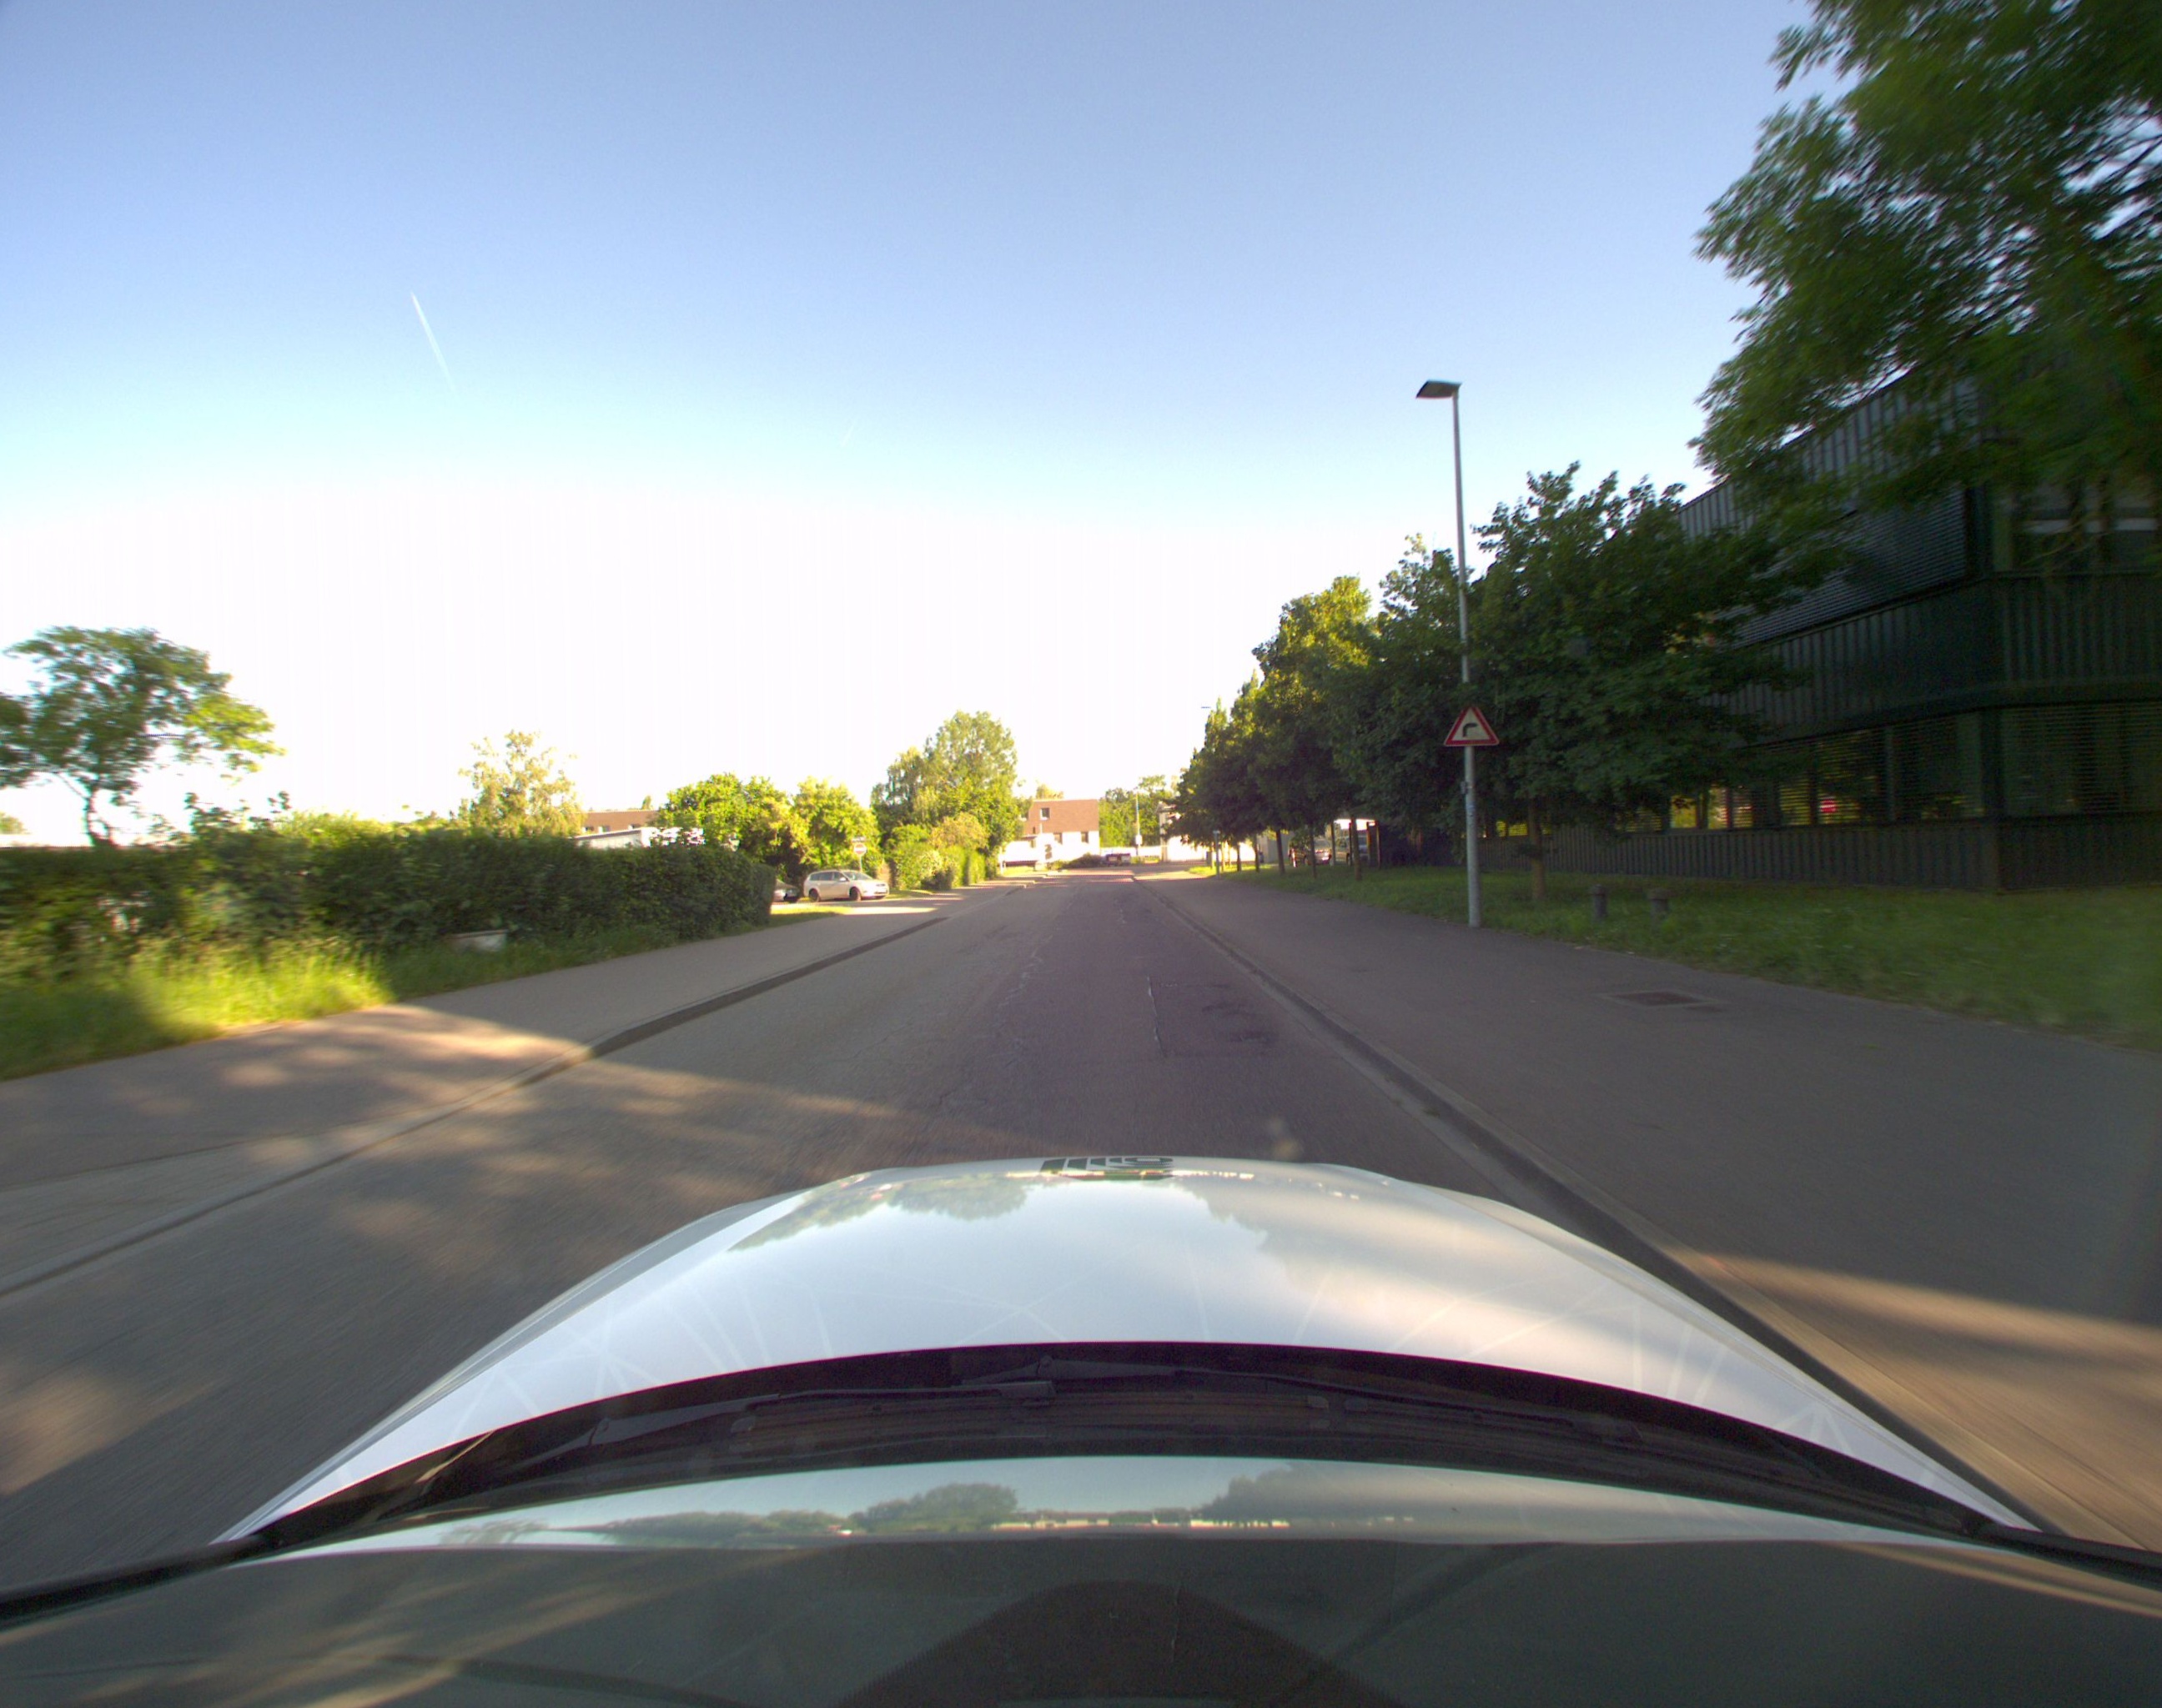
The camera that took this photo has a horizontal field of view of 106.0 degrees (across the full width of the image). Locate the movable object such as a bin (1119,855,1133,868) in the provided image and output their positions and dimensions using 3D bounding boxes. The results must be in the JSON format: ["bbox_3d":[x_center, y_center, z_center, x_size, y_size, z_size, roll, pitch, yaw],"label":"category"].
[{"bbox_3d":[4.935,0.823,89.784,1.363,1.418,1.063,-1,-1,-6],"label":"movable object such as a bin"}]

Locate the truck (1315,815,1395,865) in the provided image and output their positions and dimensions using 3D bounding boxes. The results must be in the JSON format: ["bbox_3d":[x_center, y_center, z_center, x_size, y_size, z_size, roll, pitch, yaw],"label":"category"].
[{"bbox_3d":[16.731,-0.791,50.172,2.353,2.838,6.742,-1,0,-3],"label":"truck"}]

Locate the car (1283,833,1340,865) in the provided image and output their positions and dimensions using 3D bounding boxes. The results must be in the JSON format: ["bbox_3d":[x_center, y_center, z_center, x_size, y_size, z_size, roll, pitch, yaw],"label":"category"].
[{"bbox_3d":[13.742,-0.248,48.872,1.831,1.814,4.660,-1,-1,-3],"label":"car"}]

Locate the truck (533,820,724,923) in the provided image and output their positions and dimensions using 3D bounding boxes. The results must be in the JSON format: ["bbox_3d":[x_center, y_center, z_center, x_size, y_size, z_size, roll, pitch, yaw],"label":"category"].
[{"bbox_3d":[-19.371,0.879,34.599,9.214,3.883,2.728,-3,-2,30],"label":"truck"}]

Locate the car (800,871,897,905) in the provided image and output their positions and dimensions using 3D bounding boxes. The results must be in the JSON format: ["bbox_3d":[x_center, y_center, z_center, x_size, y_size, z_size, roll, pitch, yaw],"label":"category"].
[{"bbox_3d":[-10.833,1.566,37.946,4.170,1.490,1.888,-2,-1,28],"label":"car"}]

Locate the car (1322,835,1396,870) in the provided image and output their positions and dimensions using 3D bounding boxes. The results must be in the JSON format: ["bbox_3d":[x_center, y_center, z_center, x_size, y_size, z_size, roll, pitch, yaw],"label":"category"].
[{"bbox_3d":[12.441,-0.015,36.719,1.830,1.466,4.277,-1,-1,-1],"label":"car"}]

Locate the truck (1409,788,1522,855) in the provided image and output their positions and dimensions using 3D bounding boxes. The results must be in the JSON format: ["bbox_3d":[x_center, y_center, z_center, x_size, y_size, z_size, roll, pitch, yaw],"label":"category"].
[{"bbox_3d":[17.430,-1.361,37.386,2.273,2.677,6.403,-1,-1,2],"label":"truck"}]

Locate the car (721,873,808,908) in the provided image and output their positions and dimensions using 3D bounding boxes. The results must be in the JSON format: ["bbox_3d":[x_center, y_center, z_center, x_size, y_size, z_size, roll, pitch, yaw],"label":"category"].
[{"bbox_3d":[-15.665,1.801,40.254,4.152,1.436,1.653,-5,-3,28],"label":"car"}]

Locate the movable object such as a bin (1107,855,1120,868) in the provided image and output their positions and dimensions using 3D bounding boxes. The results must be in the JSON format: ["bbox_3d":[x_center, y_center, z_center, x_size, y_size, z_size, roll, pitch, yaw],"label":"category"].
[{"bbox_3d":[3.563,0.843,89.466,1.363,1.418,1.063,-1,-1,-6],"label":"movable object such as a bin"}]
